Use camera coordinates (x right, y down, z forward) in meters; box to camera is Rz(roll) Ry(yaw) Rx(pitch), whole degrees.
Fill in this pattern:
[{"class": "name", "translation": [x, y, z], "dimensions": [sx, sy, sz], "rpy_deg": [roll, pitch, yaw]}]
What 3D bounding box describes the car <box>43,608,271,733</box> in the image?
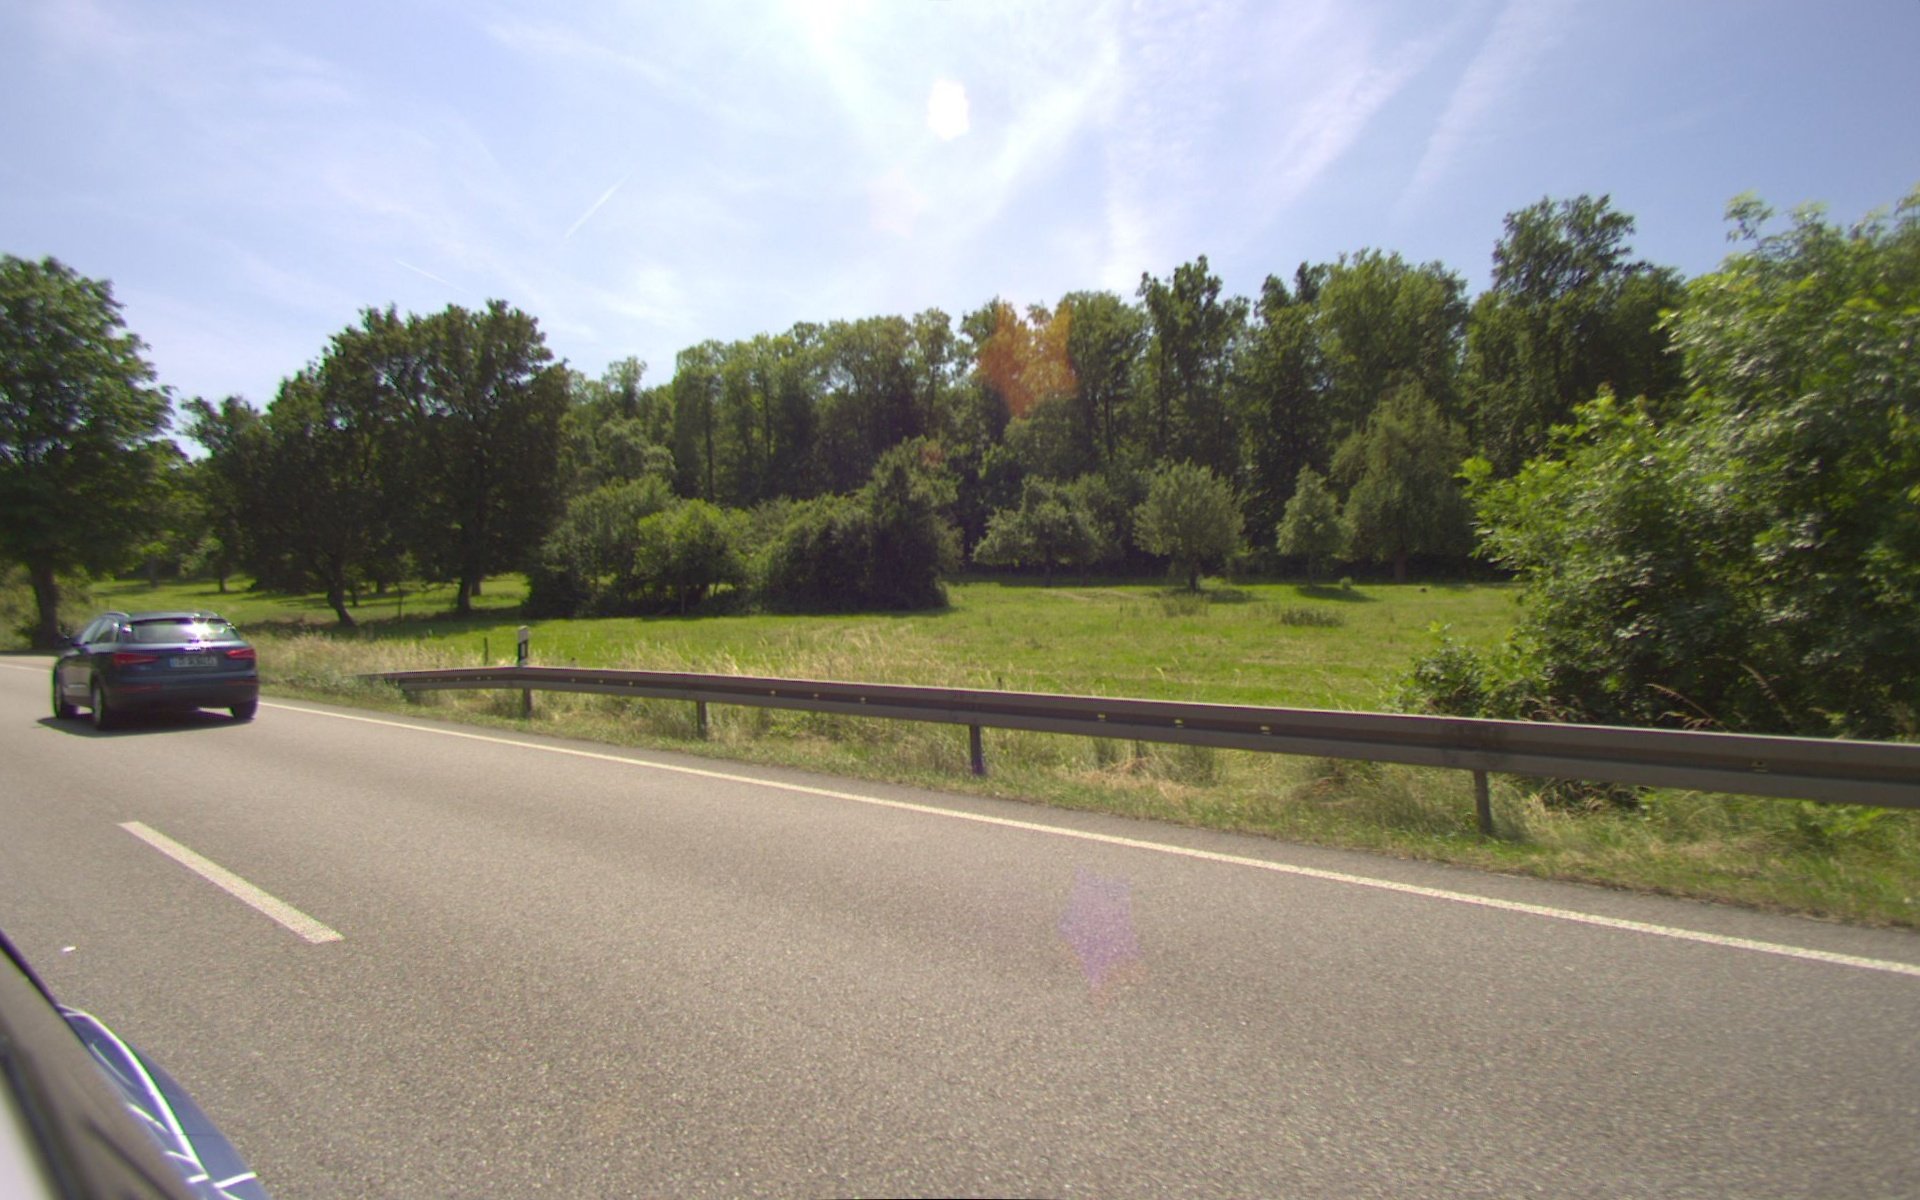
[{"class": "car", "translation": [-11.668, 0.919, 14.628], "dimensions": [3.887, 1.539, 1.845], "rpy_deg": [-1, -1, 40]}]
